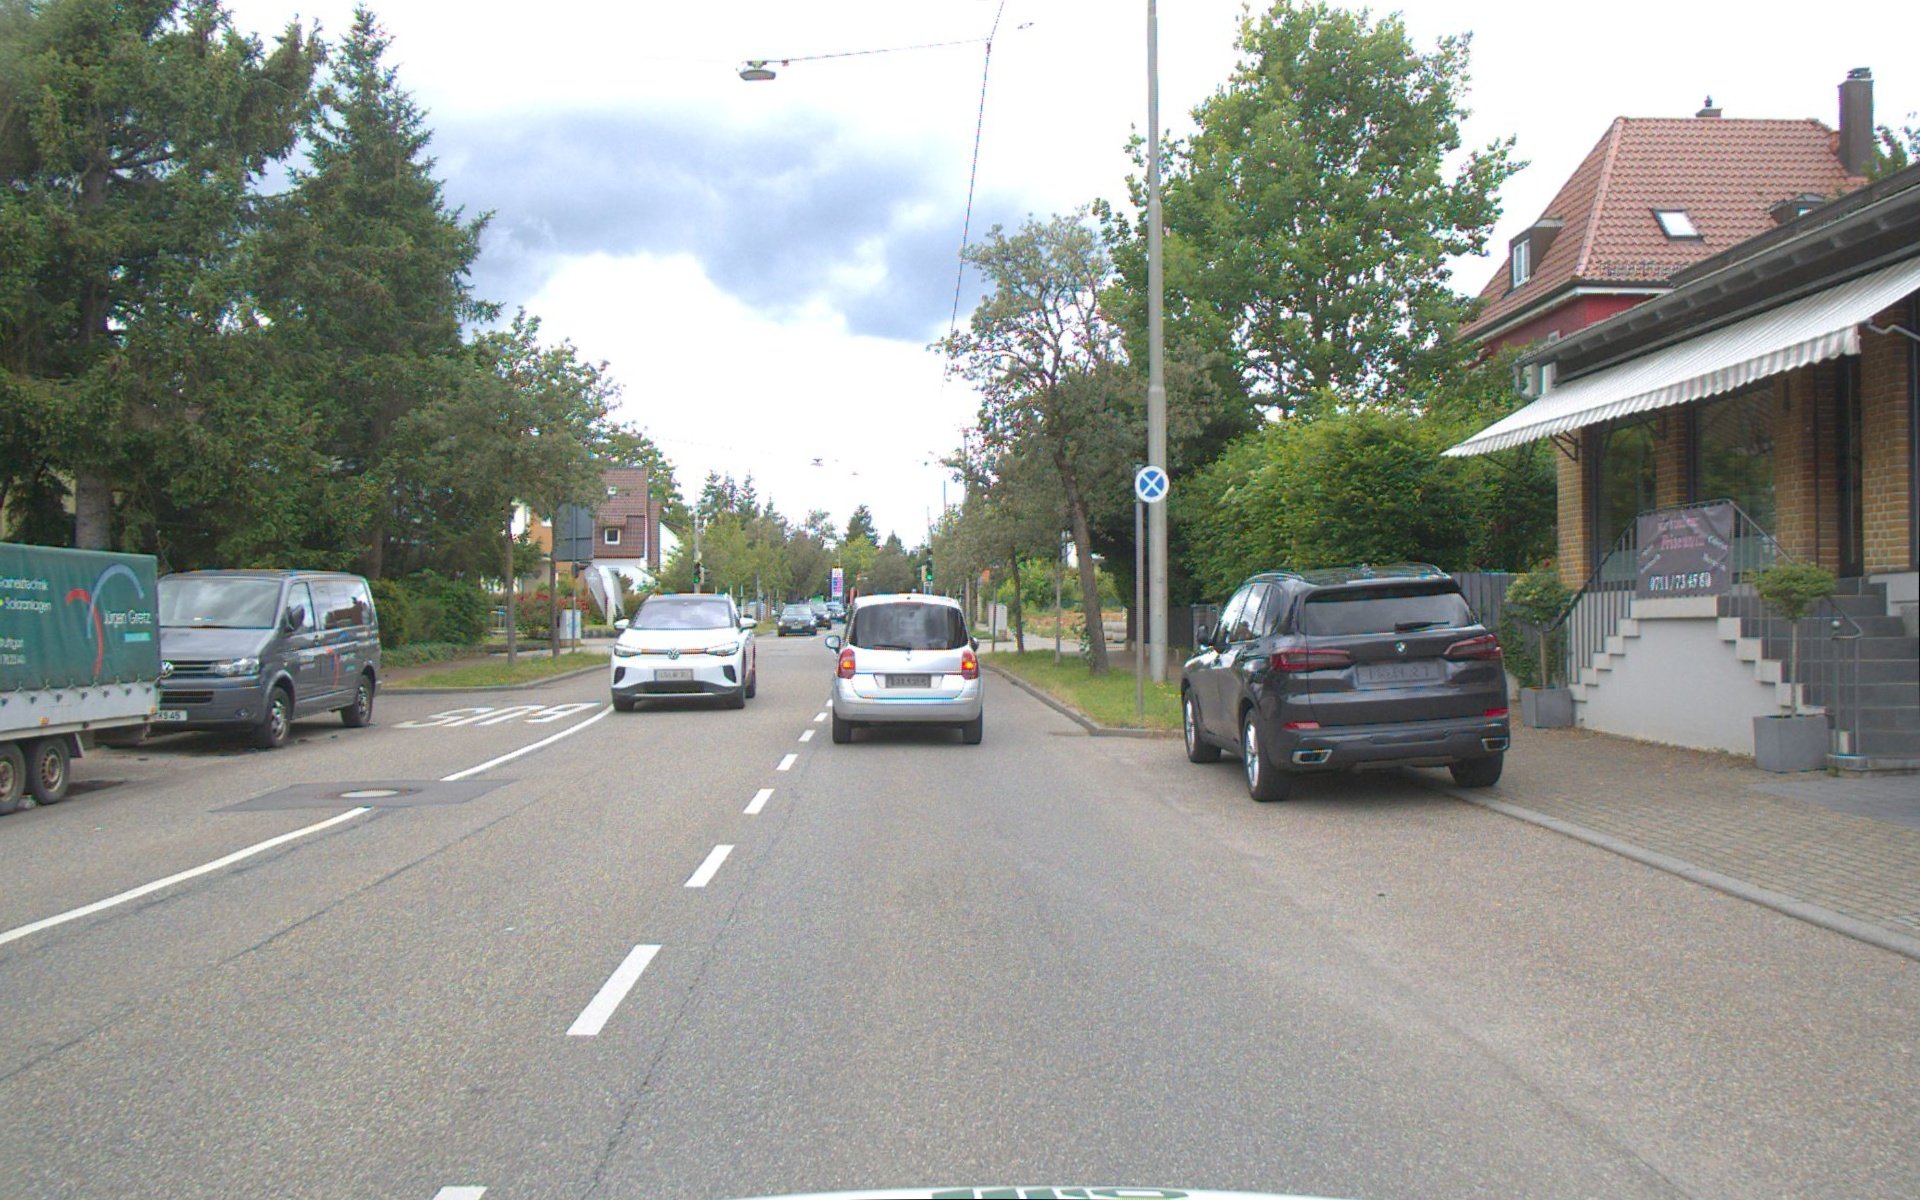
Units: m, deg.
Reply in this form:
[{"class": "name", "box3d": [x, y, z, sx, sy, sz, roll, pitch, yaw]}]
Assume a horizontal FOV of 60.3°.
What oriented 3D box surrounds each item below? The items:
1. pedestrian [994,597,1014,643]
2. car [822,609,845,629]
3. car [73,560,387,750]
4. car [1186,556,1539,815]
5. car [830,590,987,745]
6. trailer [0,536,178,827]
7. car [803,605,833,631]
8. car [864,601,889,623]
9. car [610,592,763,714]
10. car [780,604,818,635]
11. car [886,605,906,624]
[{"class": "pedestrian", "box3d": [1.639, 0.746, 61.574, 0.691, 1.675, 0.773, -1, 0, -2]}, {"class": "car", "box3d": [-9.646, 1.464, 126.246, 1.688, 1.436, 3.996, 1, -1, -5]}, {"class": "car", "box3d": [-8.392, 0.609, 19.520, 1.850, 1.956, 4.558, 1, -1, -3]}, {"class": "car", "box3d": [3.132, 0.631, 13.727, 1.776, 1.773, 3.998, -2, -1, -2]}, {"class": "car", "box3d": [-0.559, 0.731, 19.098, 1.597, 1.584, 3.999, 1, -1, -1]}, {"class": "trailer", "box3d": [-8.148, 0.585, 12.103, 2.266, 2.123, 5.869, 1, -1, -3]}, {"class": "car", "box3d": [-8.177, 1.028, 95.569, 1.688, 1.436, 3.996, 1, -1, -5]}, {"class": "car", "box3d": [-6.442, 0.913, 127.945, 1.792, 1.705, 3.573, -1, 0, -2]}, {"class": "car", "box3d": [-3.930, 0.743, 24.326, 1.868, 1.646, 3.996, 0, -1, -4]}, {"class": "car", "box3d": [-7.631, 0.937, 78.532, 1.688, 1.436, 3.996, 1, -1, -5]}, {"class": "car", "box3d": [-6.145, 1.391, 159.118, 1.792, 1.705, 3.573, -1, 0, -2]}]
